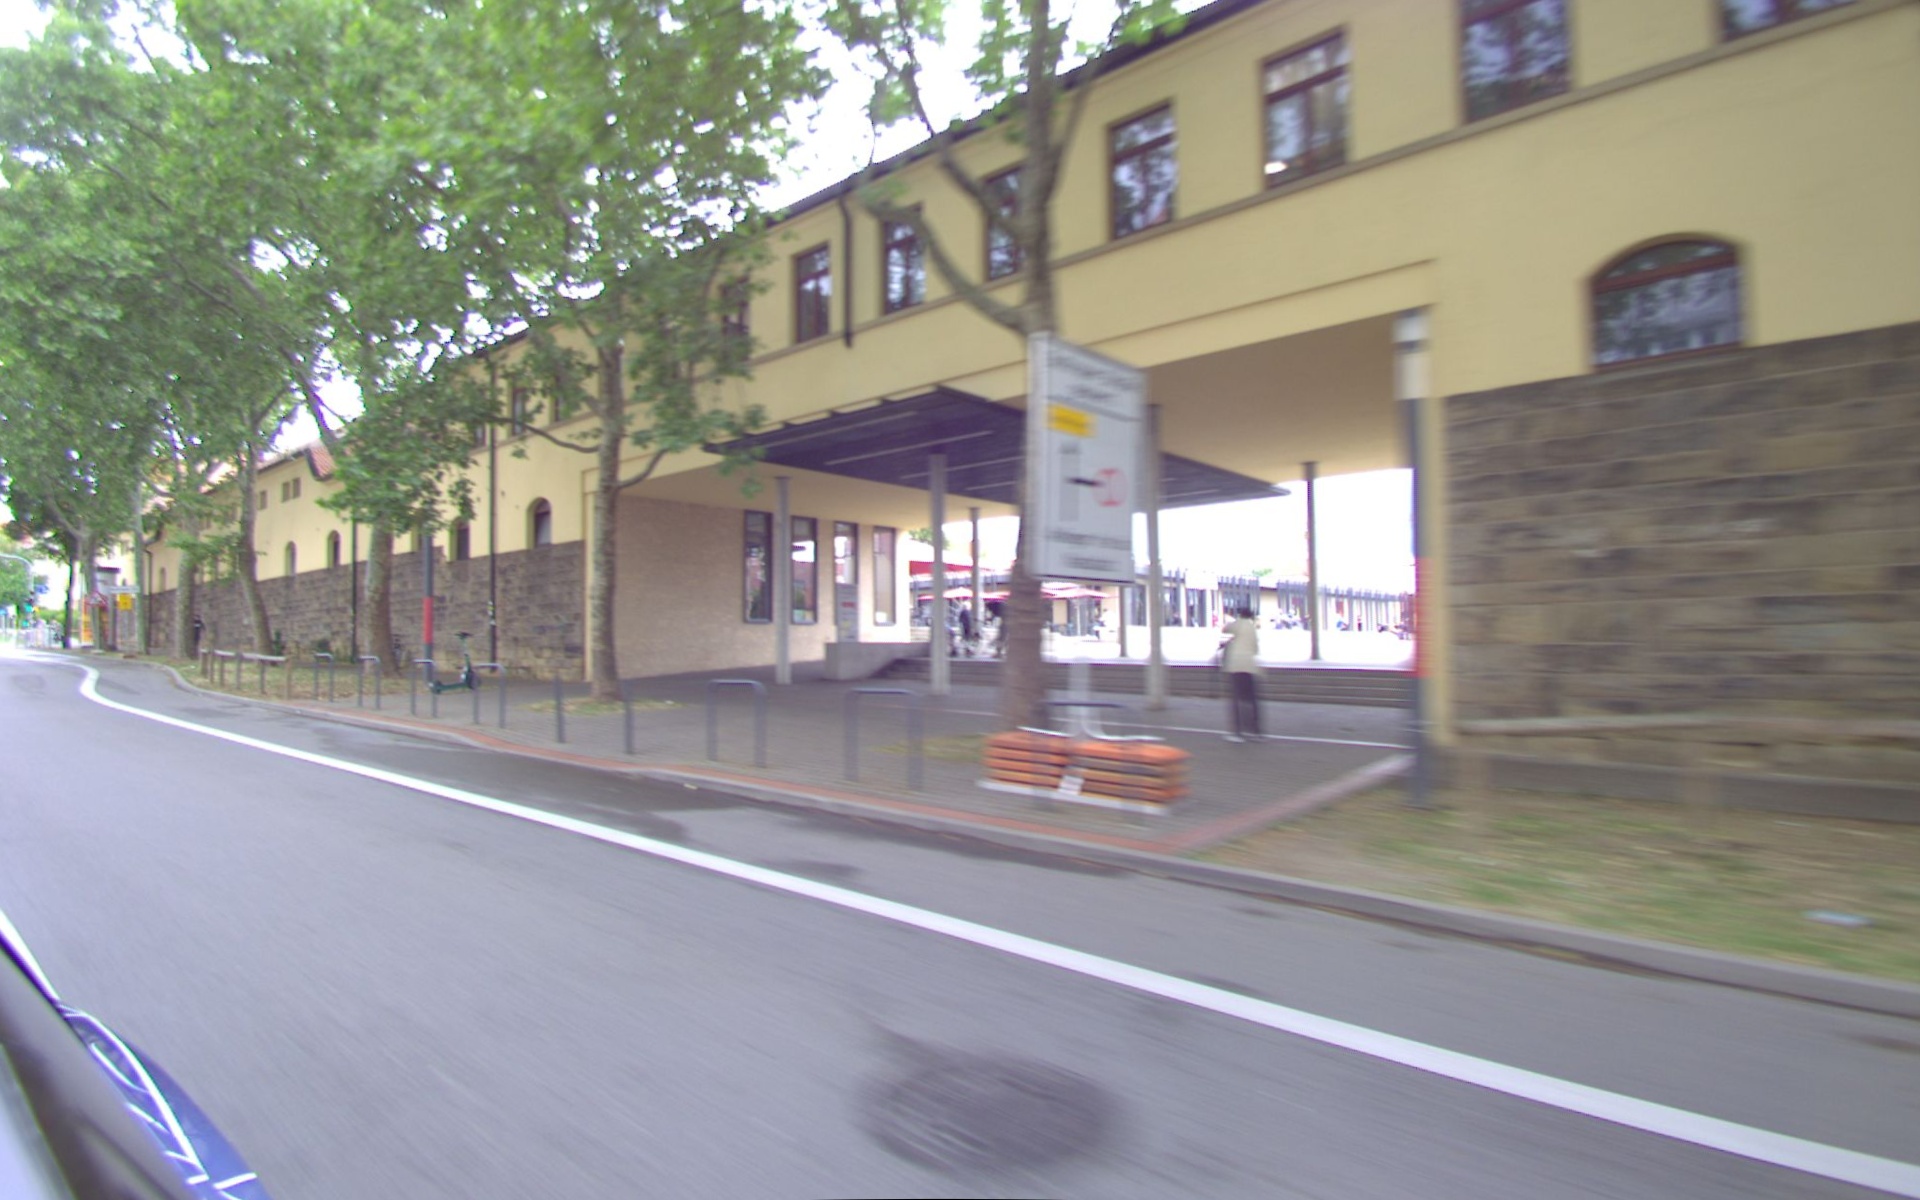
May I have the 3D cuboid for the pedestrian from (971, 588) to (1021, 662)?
[{"bbox_3d":[0.897,0.611,25.131,0.799,1.804,0.905,0,-2,-44],"label":"pedestrian"}]

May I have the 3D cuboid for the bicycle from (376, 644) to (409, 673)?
[{"bbox_3d":[-17.424,1.781,31.062,1.775,0.852,0.332,-1,-1,41],"label":"bicycle"}]

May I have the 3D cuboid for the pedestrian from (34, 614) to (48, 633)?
[{"bbox_3d":[-99.888,2.587,109.991,1.097,2.005,1.029,-1,0,43],"label":"pedestrian"}]

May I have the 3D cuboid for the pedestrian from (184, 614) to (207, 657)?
[{"bbox_3d":[-33.858,1.576,44.830,0.816,1.890,0.664,-2,-1,42],"label":"pedestrian"}]

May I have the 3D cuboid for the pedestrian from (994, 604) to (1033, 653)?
[{"bbox_3d":[1.721,0.904,32.677,0.964,1.534,0.800,-1,-1,41],"label":"pedestrian"}]

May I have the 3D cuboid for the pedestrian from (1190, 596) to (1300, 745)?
[{"bbox_3d":[3.428,0.809,12.191,0.851,1.700,0.928,0,-1,-40],"label":"pedestrian"}]

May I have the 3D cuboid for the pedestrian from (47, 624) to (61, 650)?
[{"bbox_3d":[-60.115,2.471,67.131,0.549,1.675,0.617,-1,0,43],"label":"pedestrian"}]

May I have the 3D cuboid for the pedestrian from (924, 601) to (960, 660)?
[{"bbox_3d":[-0.458,0.774,26.367,0.760,1.500,0.567,0,0,43],"label":"pedestrian"}]

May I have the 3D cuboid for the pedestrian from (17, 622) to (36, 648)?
[{"bbox_3d":[-61.669,2.300,66.864,0.932,1.699,0.843,-1,0,43],"label":"pedestrian"}]

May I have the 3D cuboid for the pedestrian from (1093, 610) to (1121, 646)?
[{"bbox_3d":[6.384,1.208,43.887,0.811,1.534,0.951,-2,-1,40],"label":"pedestrian"}]

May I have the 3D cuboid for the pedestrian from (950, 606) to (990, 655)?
[{"bbox_3d":[0.311,0.987,32.476,0.964,1.534,0.800,-2,-1,41],"label":"pedestrian"}]

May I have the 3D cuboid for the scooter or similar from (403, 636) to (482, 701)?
[{"bbox_3d":[-10.792,1.402,21.155,0.443,1.249,1.611,-1,-1,18],"label":"scooter or similar"}]
